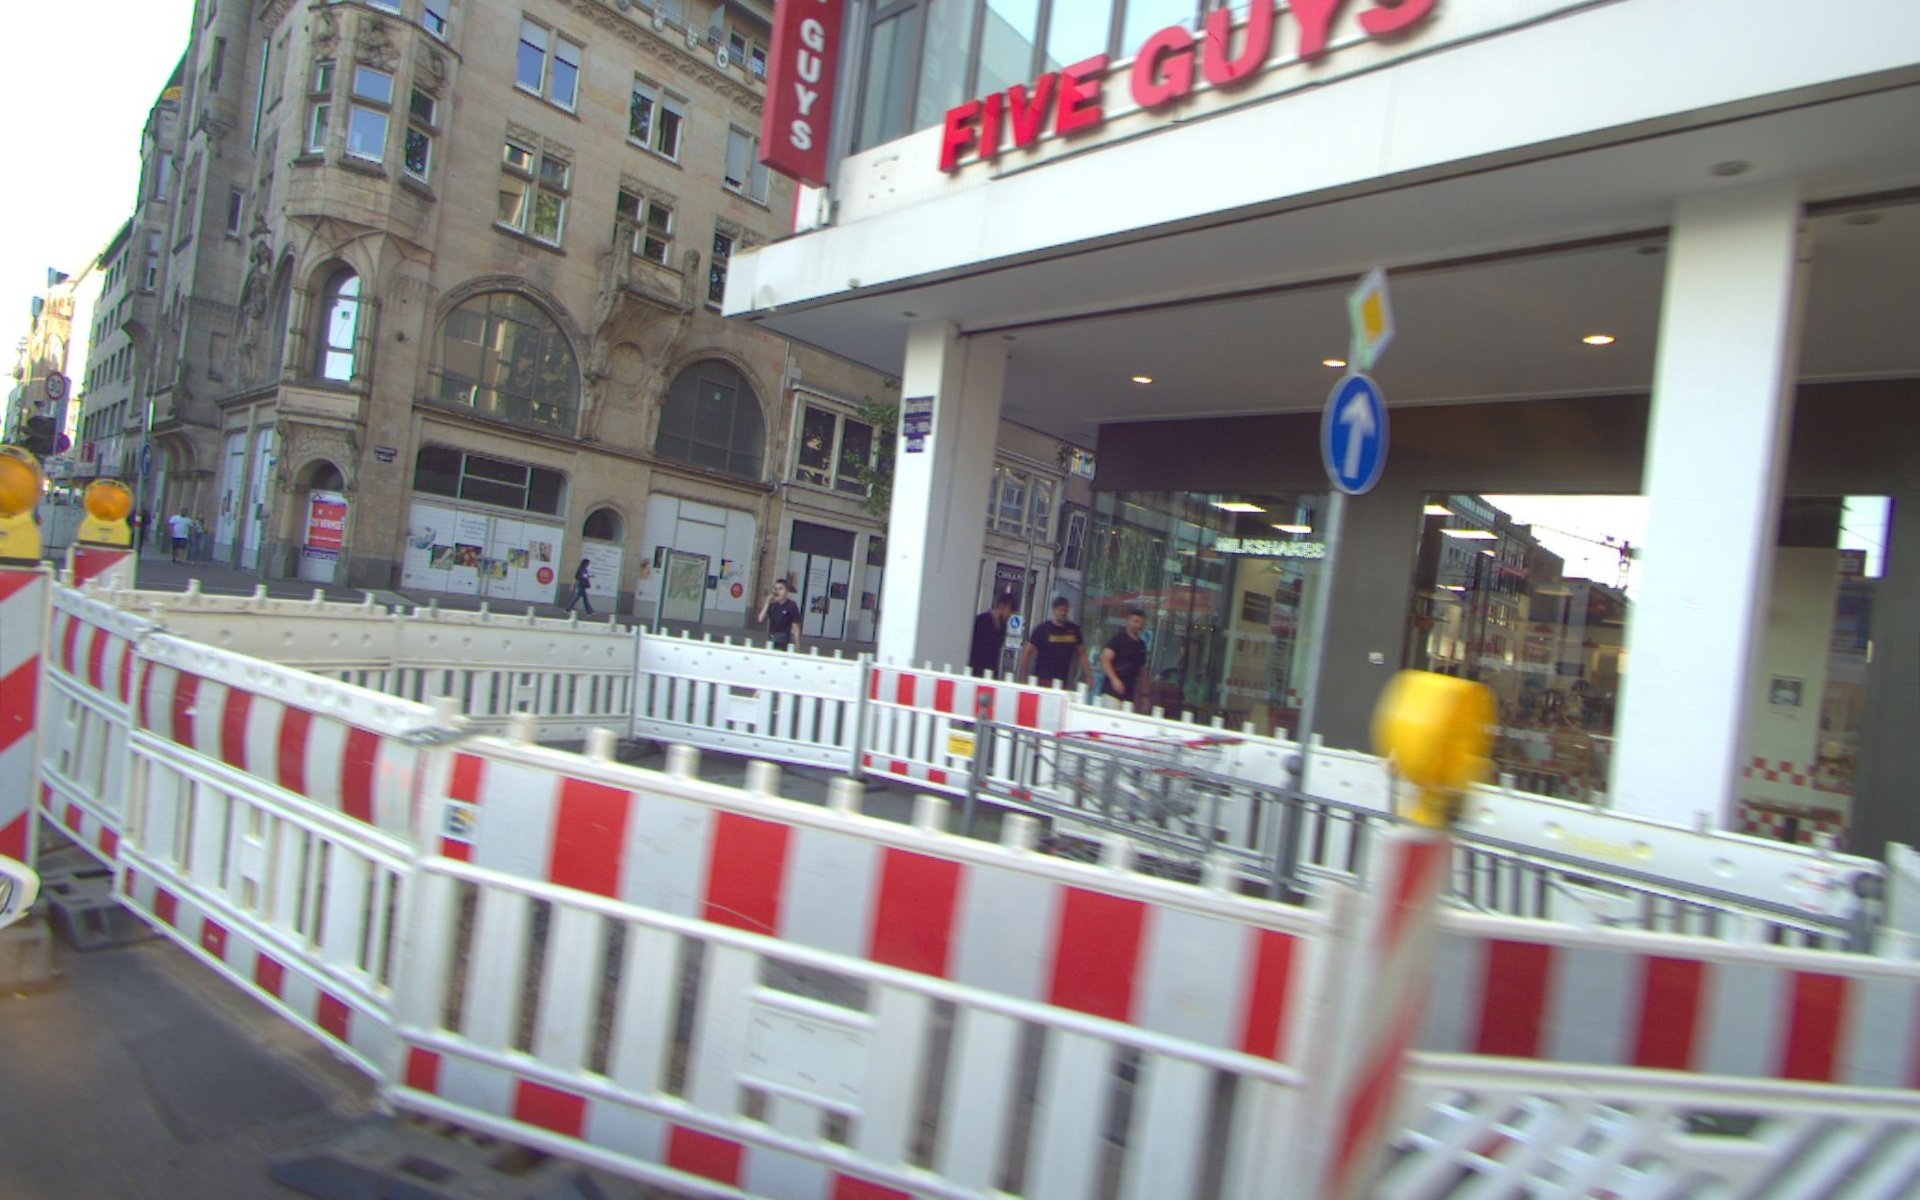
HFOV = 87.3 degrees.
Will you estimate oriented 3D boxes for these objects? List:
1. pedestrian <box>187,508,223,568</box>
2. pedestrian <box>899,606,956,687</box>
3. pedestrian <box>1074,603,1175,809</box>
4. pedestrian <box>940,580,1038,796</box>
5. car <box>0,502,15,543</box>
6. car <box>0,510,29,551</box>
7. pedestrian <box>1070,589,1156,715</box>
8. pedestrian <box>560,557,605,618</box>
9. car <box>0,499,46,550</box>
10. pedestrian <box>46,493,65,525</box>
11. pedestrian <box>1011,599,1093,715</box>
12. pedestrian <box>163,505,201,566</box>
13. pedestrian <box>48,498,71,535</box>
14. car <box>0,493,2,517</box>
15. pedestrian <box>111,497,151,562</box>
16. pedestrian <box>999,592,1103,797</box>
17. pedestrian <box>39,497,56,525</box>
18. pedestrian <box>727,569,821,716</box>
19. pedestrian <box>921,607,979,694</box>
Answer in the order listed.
[{"bbox_3d":[-23.006,-1.890,30.640,0.617,1.710,0.624,7,0,42],"label":"pedestrian"},{"bbox_3d":[-0.727,1.049,22.551,0.717,1.680,0.775,7,-2,43],"label":"pedestrian"},{"bbox_3d":[1.726,1.104,10.608,0.695,2.036,0.471,8,-1,-5],"label":"pedestrian"},{"bbox_3d":[0.287,0.869,10.118,0.694,2.036,0.471,8,-1,1],"label":"pedestrian"},{"bbox_3d":[-39.356,-3.252,40.465,3.624,1.566,1.675,6,0,44],"label":"car"},{"bbox_3d":[-35.596,-2.653,37.018,3.993,1.307,1.675,6,0,44],"label":"car"},{"bbox_3d":[2.321,0.784,15.223,0.762,1.754,0.787,7,-2,43],"label":"pedestrian"},{"bbox_3d":[-10.983,-0.371,29.266,0.704,1.629,0.818,7,-2,43],"label":"pedestrian"},{"bbox_3d":[-31.718,-2.595,33.387,3.624,1.441,1.677,6,-2,44],"label":"car"},{"bbox_3d":[-54.851,-5.510,61.012,0.662,1.822,0.643,7,0,42],"label":"pedestrian"},{"bbox_3d":[1.426,0.888,15.550,0.704,1.649,0.824,7,-2,43],"label":"pedestrian"},{"bbox_3d":[-23.040,-1.902,29.786,0.662,1.710,0.624,7,0,42],"label":"pedestrian"},{"bbox_3d":[-43.421,-4.022,48.497,0.662,1.710,0.643,7,0,42],"label":"pedestrian"},{"bbox_3d":[-43.742,-4.053,44.528,3.975,1.633,1.675,6,0,44],"label":"car"},{"bbox_3d":[-23.095,-1.957,28.029,0.662,1.710,0.624,7,0,42],"label":"pedestrian"},{"bbox_3d":[0.956,0.995,10.706,0.767,2.036,0.517,8,-1,-5],"label":"pedestrian"},{"bbox_3d":[-60.615,-5.924,66.837,0.662,1.767,0.643,7,0,42],"label":"pedestrian"},{"bbox_3d":[-2.412,0.560,13.067,0.659,1.789,0.723,7,-1,30],"label":"pedestrian"},{"bbox_3d":[-0.220,1.102,21.948,0.704,1.754,0.775,7,-2,43],"label":"pedestrian"}]
